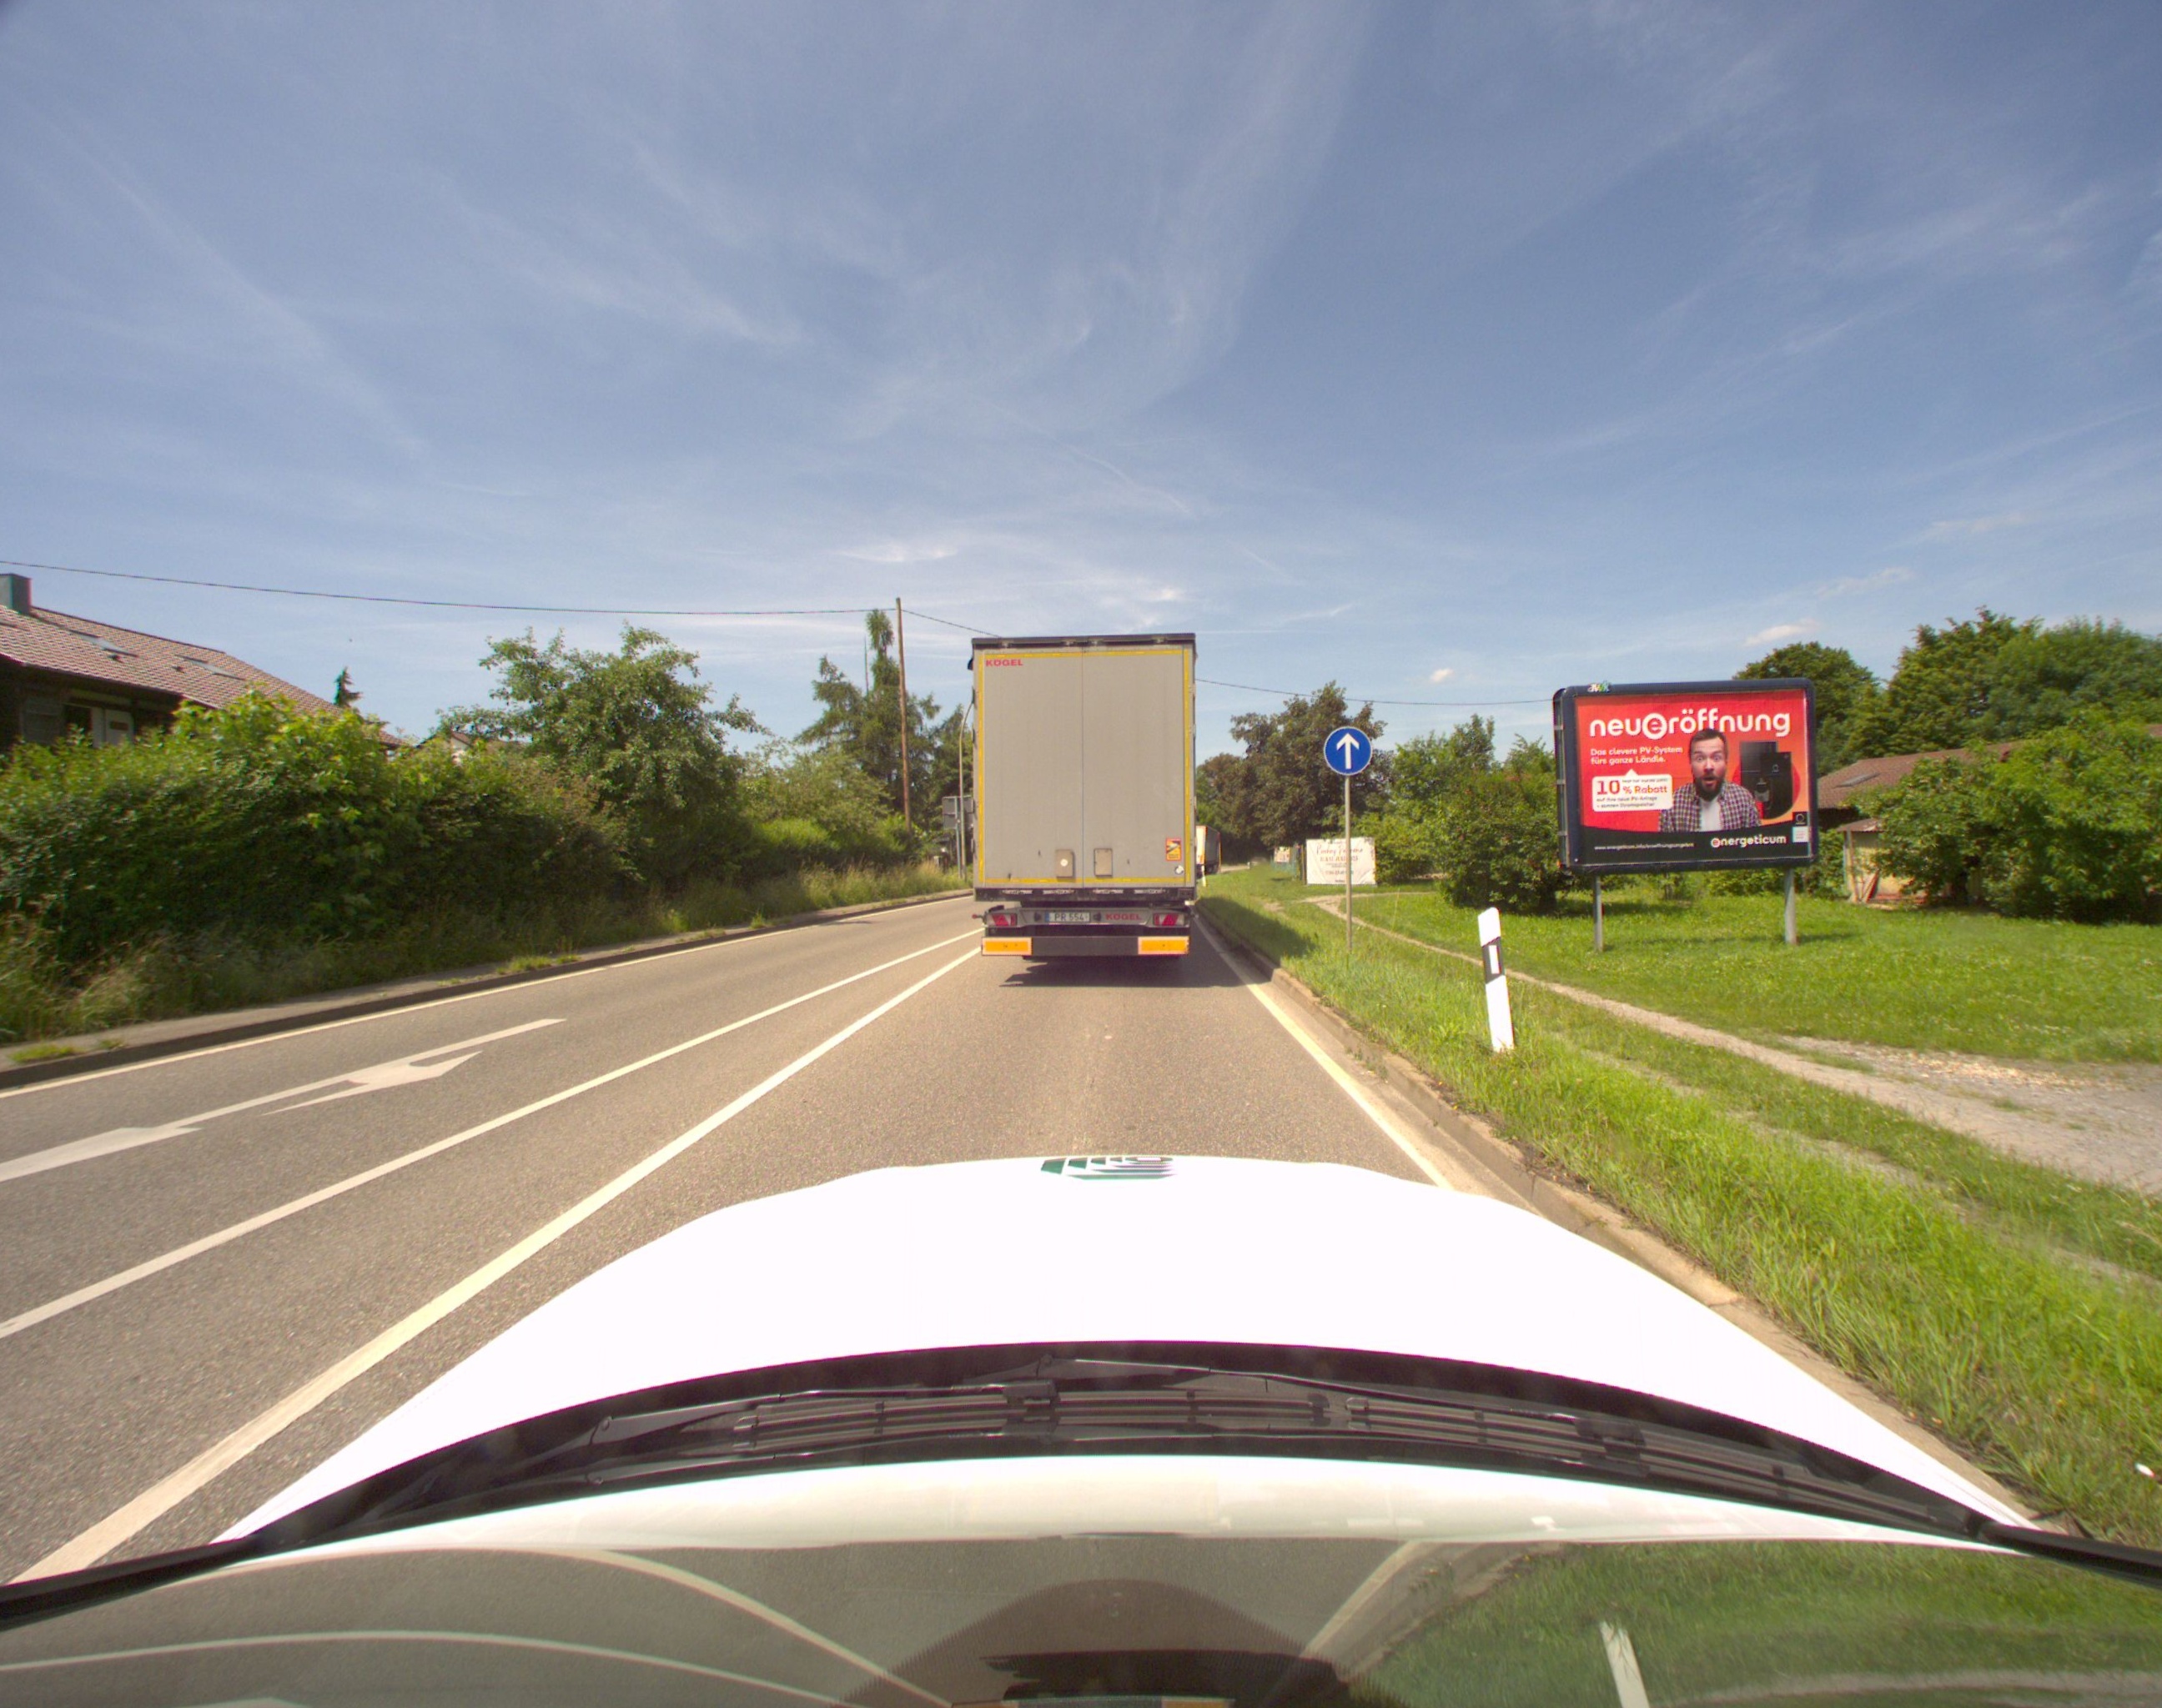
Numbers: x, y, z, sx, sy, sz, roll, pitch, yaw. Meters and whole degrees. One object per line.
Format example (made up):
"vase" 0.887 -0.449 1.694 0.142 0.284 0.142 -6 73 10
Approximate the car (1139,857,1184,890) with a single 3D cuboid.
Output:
"car" 4.010 0.928 40.126 1.982 1.530 4.010 0 0 9

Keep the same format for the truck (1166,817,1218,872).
"truck" 10.005 -0.819 72.607 3.910 4.574 7.176 -1 0 12

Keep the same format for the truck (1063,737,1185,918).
"truck" 1.375 -0.638 21.996 2.731 4.165 6.156 -1 0 8

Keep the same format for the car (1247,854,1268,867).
"car" 22.666 0.803 104.598 1.825 1.486 4.023 -1 0 24

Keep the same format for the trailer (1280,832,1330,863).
"trailer" 36.347 -1.133 131.388 5.132 4.628 15.988 -1 0 25

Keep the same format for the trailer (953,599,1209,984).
"trailer" 0.604 -0.710 15.083 2.773 4.205 12.131 -1 0 6

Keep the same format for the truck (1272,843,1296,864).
"truck" 28.889 -0.091 115.771 2.399 2.838 5.443 -1 0 24

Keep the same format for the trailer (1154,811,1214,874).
"trailer" 8.582 -0.888 66.096 3.866 4.520 12.752 -1 0 11
